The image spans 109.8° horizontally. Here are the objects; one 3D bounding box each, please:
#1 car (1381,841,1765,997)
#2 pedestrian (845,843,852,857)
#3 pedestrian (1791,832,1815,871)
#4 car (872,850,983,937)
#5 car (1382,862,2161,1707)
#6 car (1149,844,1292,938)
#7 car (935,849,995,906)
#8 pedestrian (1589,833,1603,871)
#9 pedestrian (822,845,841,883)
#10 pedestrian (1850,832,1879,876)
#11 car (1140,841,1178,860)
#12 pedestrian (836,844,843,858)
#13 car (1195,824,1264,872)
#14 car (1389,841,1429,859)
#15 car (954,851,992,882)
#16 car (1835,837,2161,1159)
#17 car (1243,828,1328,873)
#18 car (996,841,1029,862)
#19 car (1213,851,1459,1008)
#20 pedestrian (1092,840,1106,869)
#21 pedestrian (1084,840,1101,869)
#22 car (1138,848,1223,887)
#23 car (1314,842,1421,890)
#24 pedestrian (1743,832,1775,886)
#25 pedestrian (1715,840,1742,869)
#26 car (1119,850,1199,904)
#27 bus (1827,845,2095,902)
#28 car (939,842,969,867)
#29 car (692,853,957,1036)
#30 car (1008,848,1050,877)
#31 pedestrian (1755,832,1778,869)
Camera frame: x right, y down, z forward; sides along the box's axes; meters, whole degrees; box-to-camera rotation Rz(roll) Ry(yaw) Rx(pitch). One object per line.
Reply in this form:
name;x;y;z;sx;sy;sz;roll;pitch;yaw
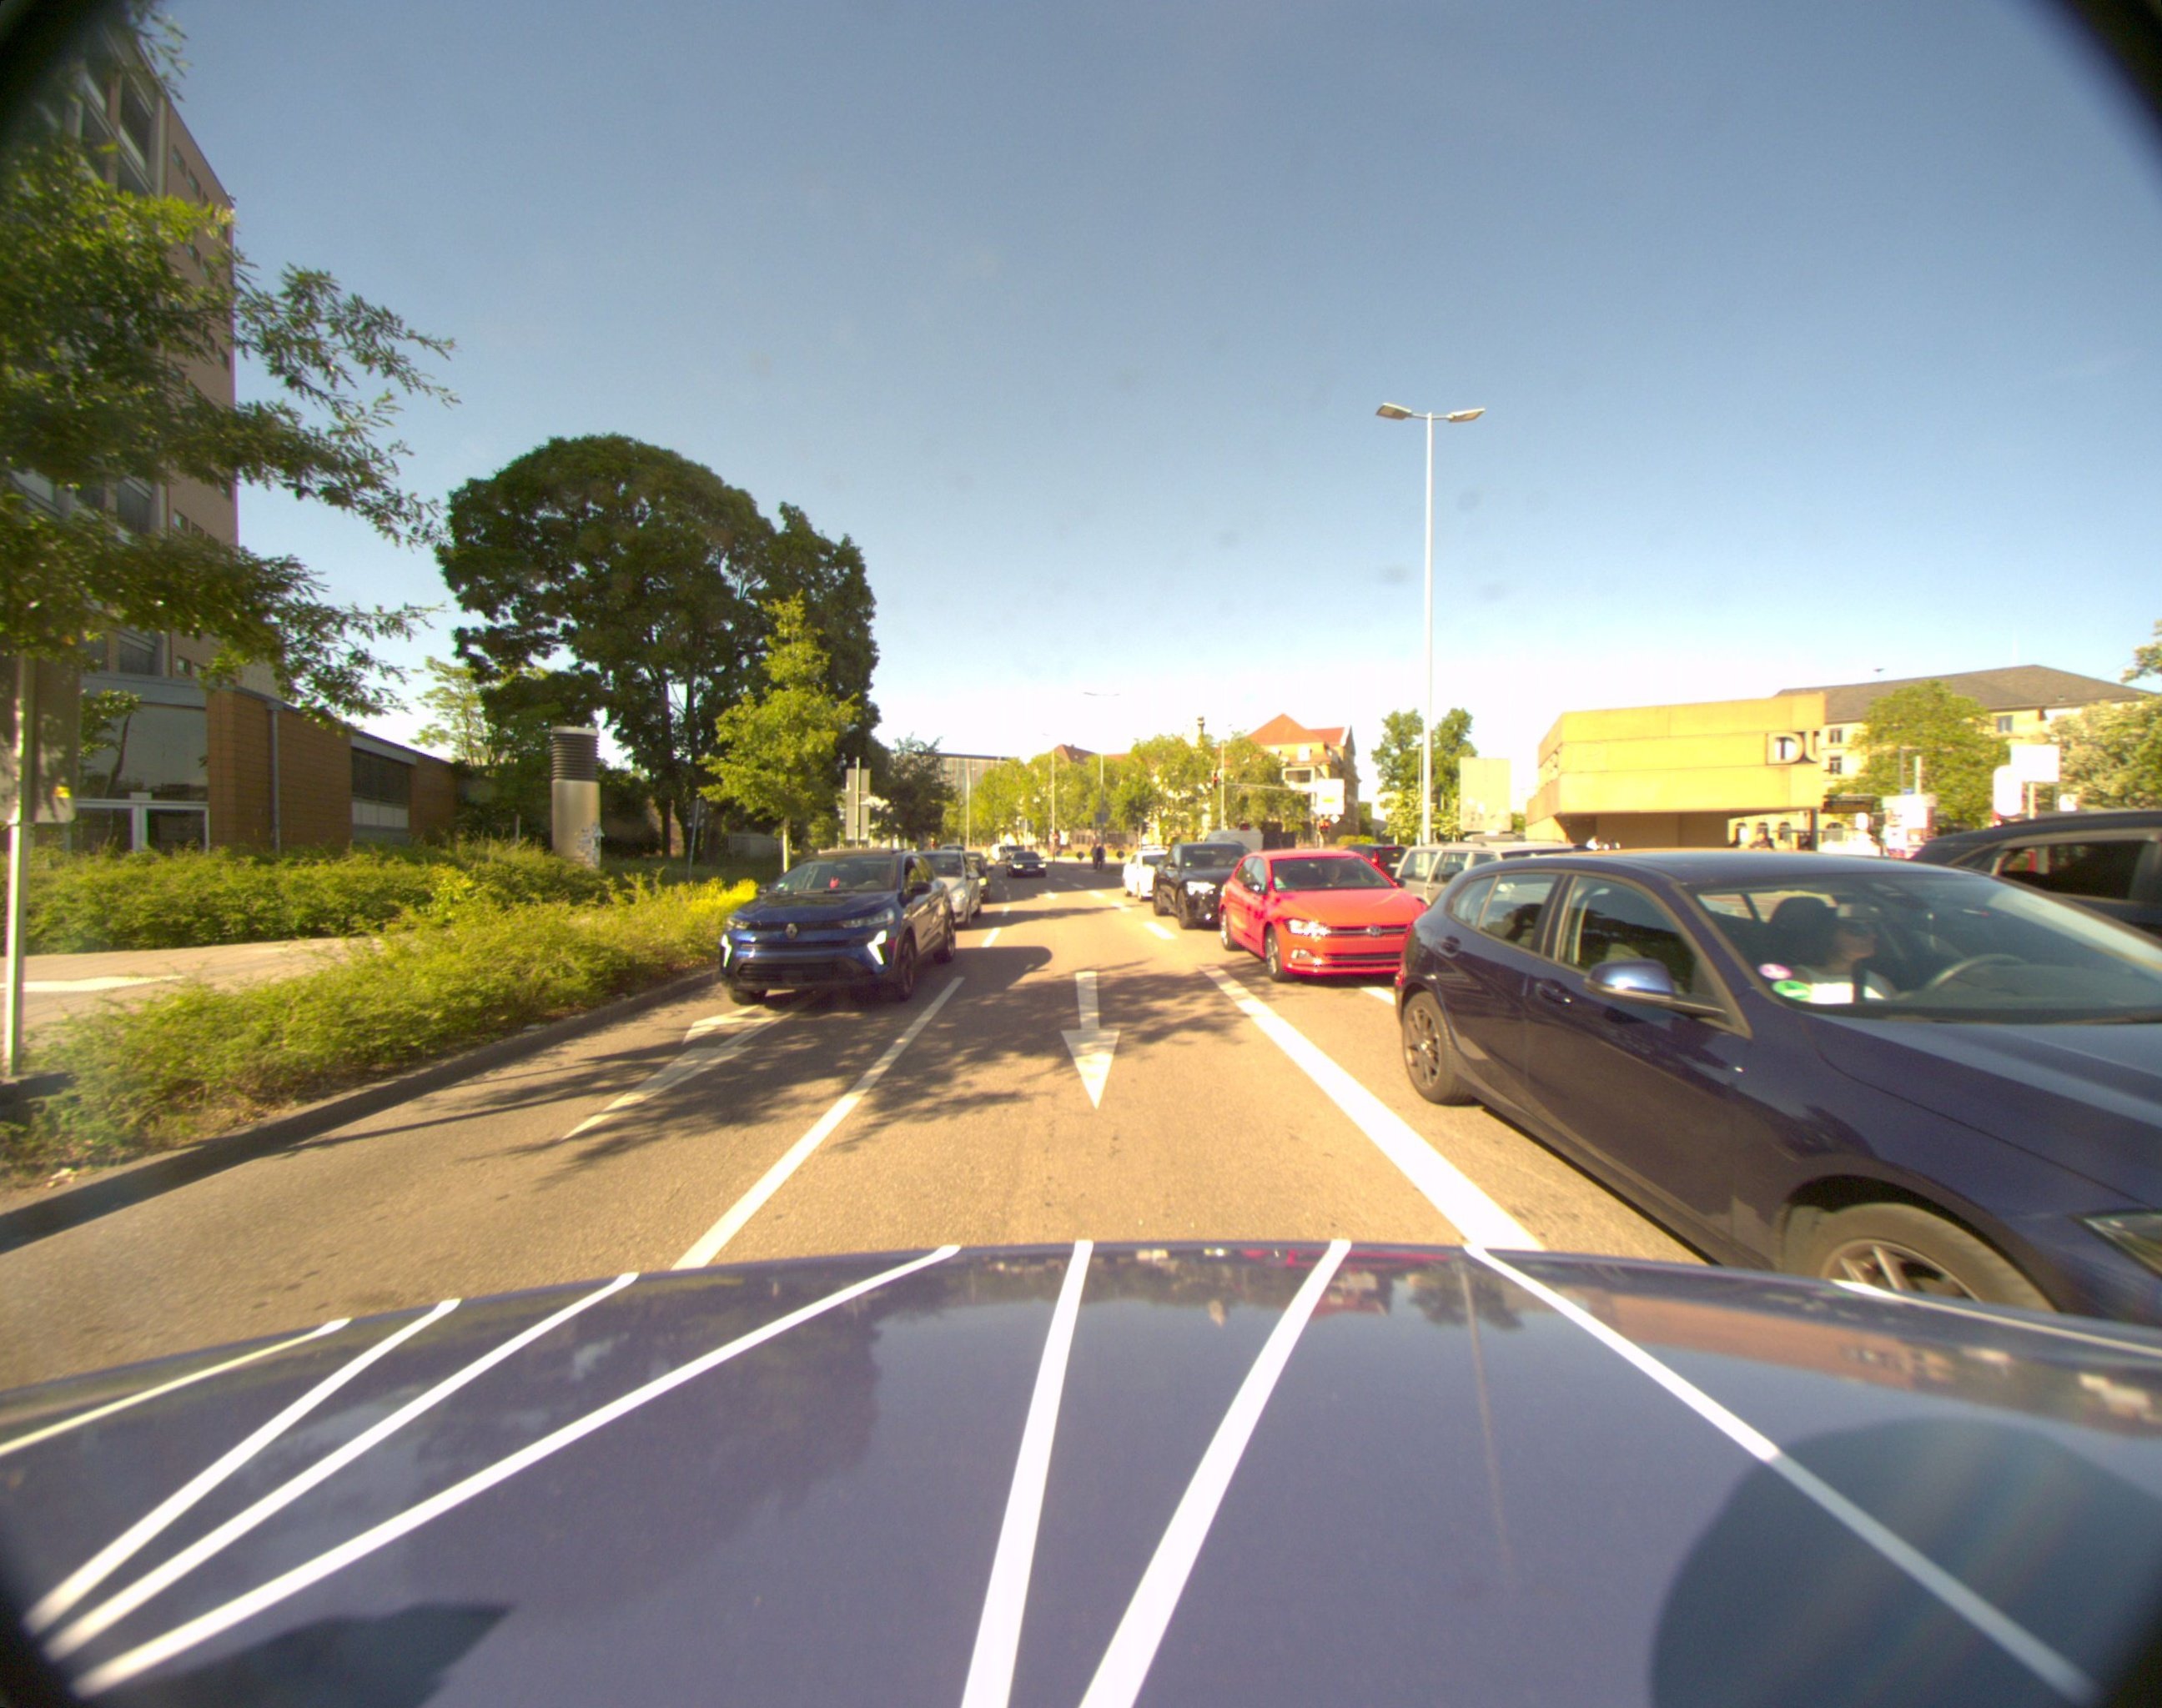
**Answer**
car;5.801;0.635;9.865;1.713;1.464;4.751;-2;0;-2
pedestrian;-31.922;-0.500;104.404;0.822;1.906;0.771;-3;2;-19
pedestrian;32.922;-0.113;34.646;0.645;1.766;0.468;-1;1;-4
car;-3.161;0.740;16.407;1.786;1.615;4.041;0;1;-3
car;2.721;0.827;2.736;1.715;1.437;4.031;-2;1;1
car;2.601;0.606;15.297;1.859;1.606;4.451;-1;1;-3
car;-3.547;0.661;23.633;1.651;1.601;3.487;0;1;-6
pedestrian;23.974;-0.089;35.353;0.467;1.766;0.647;0;1;28
pedestrian;-10.657;0.423;32.481;0.693;1.595;0.660;-1;1;-14
pedestrian;31.438;-0.002;30.499;0.644;1.766;0.469;0;1;20
car;6.710;-0.273;65.219;3.067;1.596;1.597;0;1;10
pedestrian;-33.034;-0.451;103.921;0.822;1.906;0.771;-3;2;-19
car;8.073;-0.330;41.885;2.000;2.493;5.414;0;1;-10
car;31.891;-0.396;73.973;3.383;1.670;1.523;0;1;-17
car;-5.799;0.621;40.629;1.753;1.467;3.570;-2;1;-12
car;6.000;0.686;3.224;1.762;1.509;4.010;-1;1;3
car;11.102;-0.210;41.892;2.117;2.300;6.208;-1;1;-10
car;-6.826;-0.275;75.690;1.790;2.002;4.223;-2;1;-26
car;2.844;0.735;9.388;1.674;1.464;3.852;-2;1;-1
pedestrian;1.151;0.005;48.244;0.756;1.815;0.776;-2;2;-6
pedestrian;0.751;0.025;49.721;0.887;1.815;0.776;-2;2;-8
car;3.755;0.472;29.254;1.754;1.370;3.567;-1;1;-20
car;10.451;0.395;28.069;1.870;1.649;4.068;0;1;-10
pedestrian;22.810;0.150;25.568;0.647;1.778;0.666;-3;2;-37
pedestrian;30.051;0.022;35.261;0.645;1.303;0.763;0;1;9
car;2.250;0.625;22.679;1.575;1.410;3.710;-2;1;-7
bus;21.646;0.412;18.988;1.646;1.234;4.181;-1;1;-6
car;-9.672;0.011;57.703;1.829;1.843;3.746;-1;1;-16
car;-2.653;0.820;8.919;1.705;1.596;4.083;-1;1;0
car;-2.949;0.455;42.562;1.882;1.472;3.996;-2;1;-10
pedestrian;33.145;-0.192;36.742;0.645;1.766;0.468;-1;1;-4
